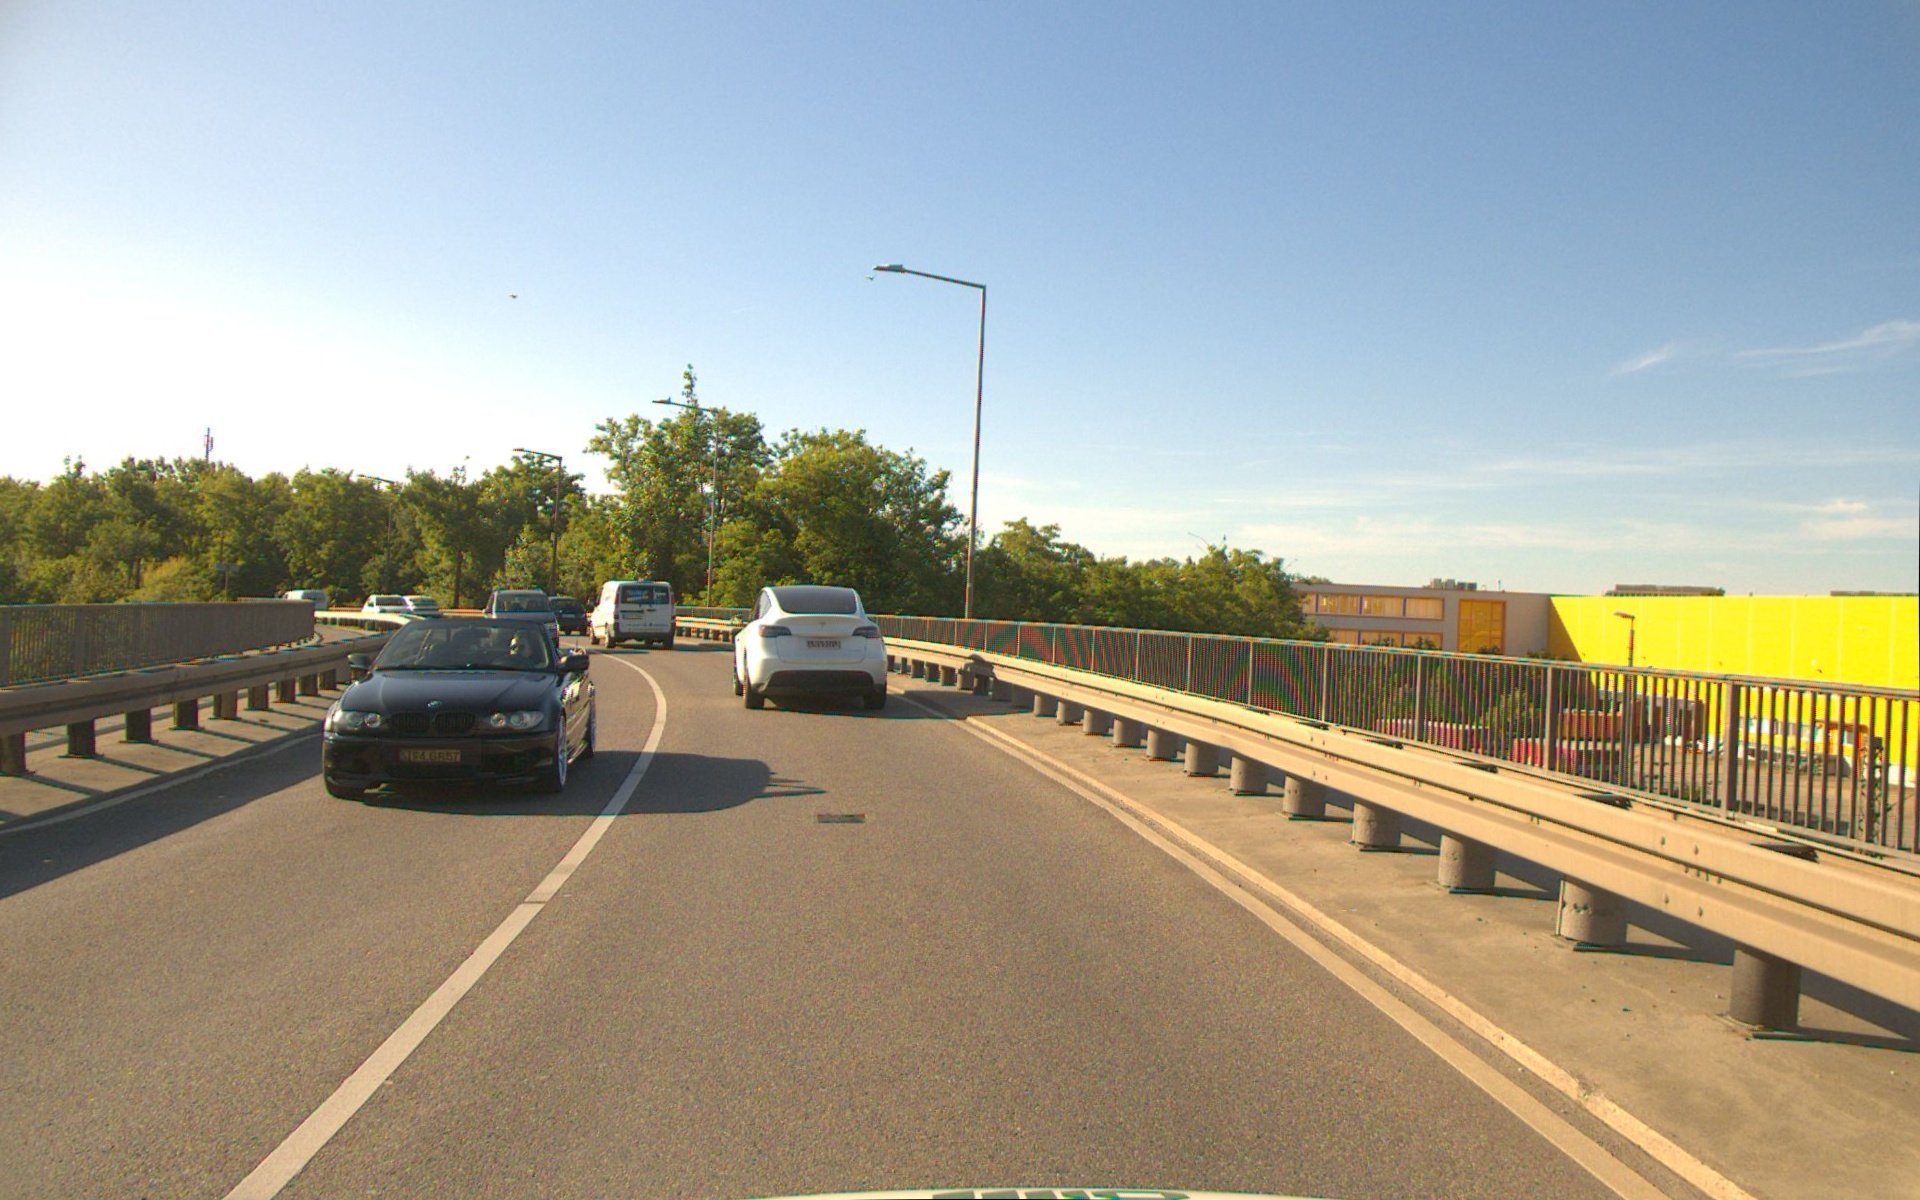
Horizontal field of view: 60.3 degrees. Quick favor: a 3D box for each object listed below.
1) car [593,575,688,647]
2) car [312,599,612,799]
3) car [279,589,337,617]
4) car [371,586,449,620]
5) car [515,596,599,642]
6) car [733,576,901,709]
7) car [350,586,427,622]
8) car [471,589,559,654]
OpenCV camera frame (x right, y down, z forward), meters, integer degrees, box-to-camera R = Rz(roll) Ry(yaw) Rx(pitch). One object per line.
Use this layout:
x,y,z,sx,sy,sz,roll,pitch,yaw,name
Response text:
-9.336,0.295,48.032,1.976,1.974,4.439,0,0,-21,car
-3.944,0.697,13.759,1.712,1.379,4.175,0,0,-7,car
-38.190,0.167,96.840,1.828,1.583,3.829,0,0,-45,car
-27.270,0.130,81.988,3.838,1.612,1.857,0,0,38,car
-15.245,0.722,62.446,1.950,1.666,3.956,-1,0,-32,car
-2.094,0.553,23.104,1.949,1.666,4.052,1,0,-10,car
-25.334,0.148,73.248,1.829,1.545,3.708,0,0,-44,car
-11.925,0.534,44.169,1.823,1.652,4.076,0,0,-22,car
